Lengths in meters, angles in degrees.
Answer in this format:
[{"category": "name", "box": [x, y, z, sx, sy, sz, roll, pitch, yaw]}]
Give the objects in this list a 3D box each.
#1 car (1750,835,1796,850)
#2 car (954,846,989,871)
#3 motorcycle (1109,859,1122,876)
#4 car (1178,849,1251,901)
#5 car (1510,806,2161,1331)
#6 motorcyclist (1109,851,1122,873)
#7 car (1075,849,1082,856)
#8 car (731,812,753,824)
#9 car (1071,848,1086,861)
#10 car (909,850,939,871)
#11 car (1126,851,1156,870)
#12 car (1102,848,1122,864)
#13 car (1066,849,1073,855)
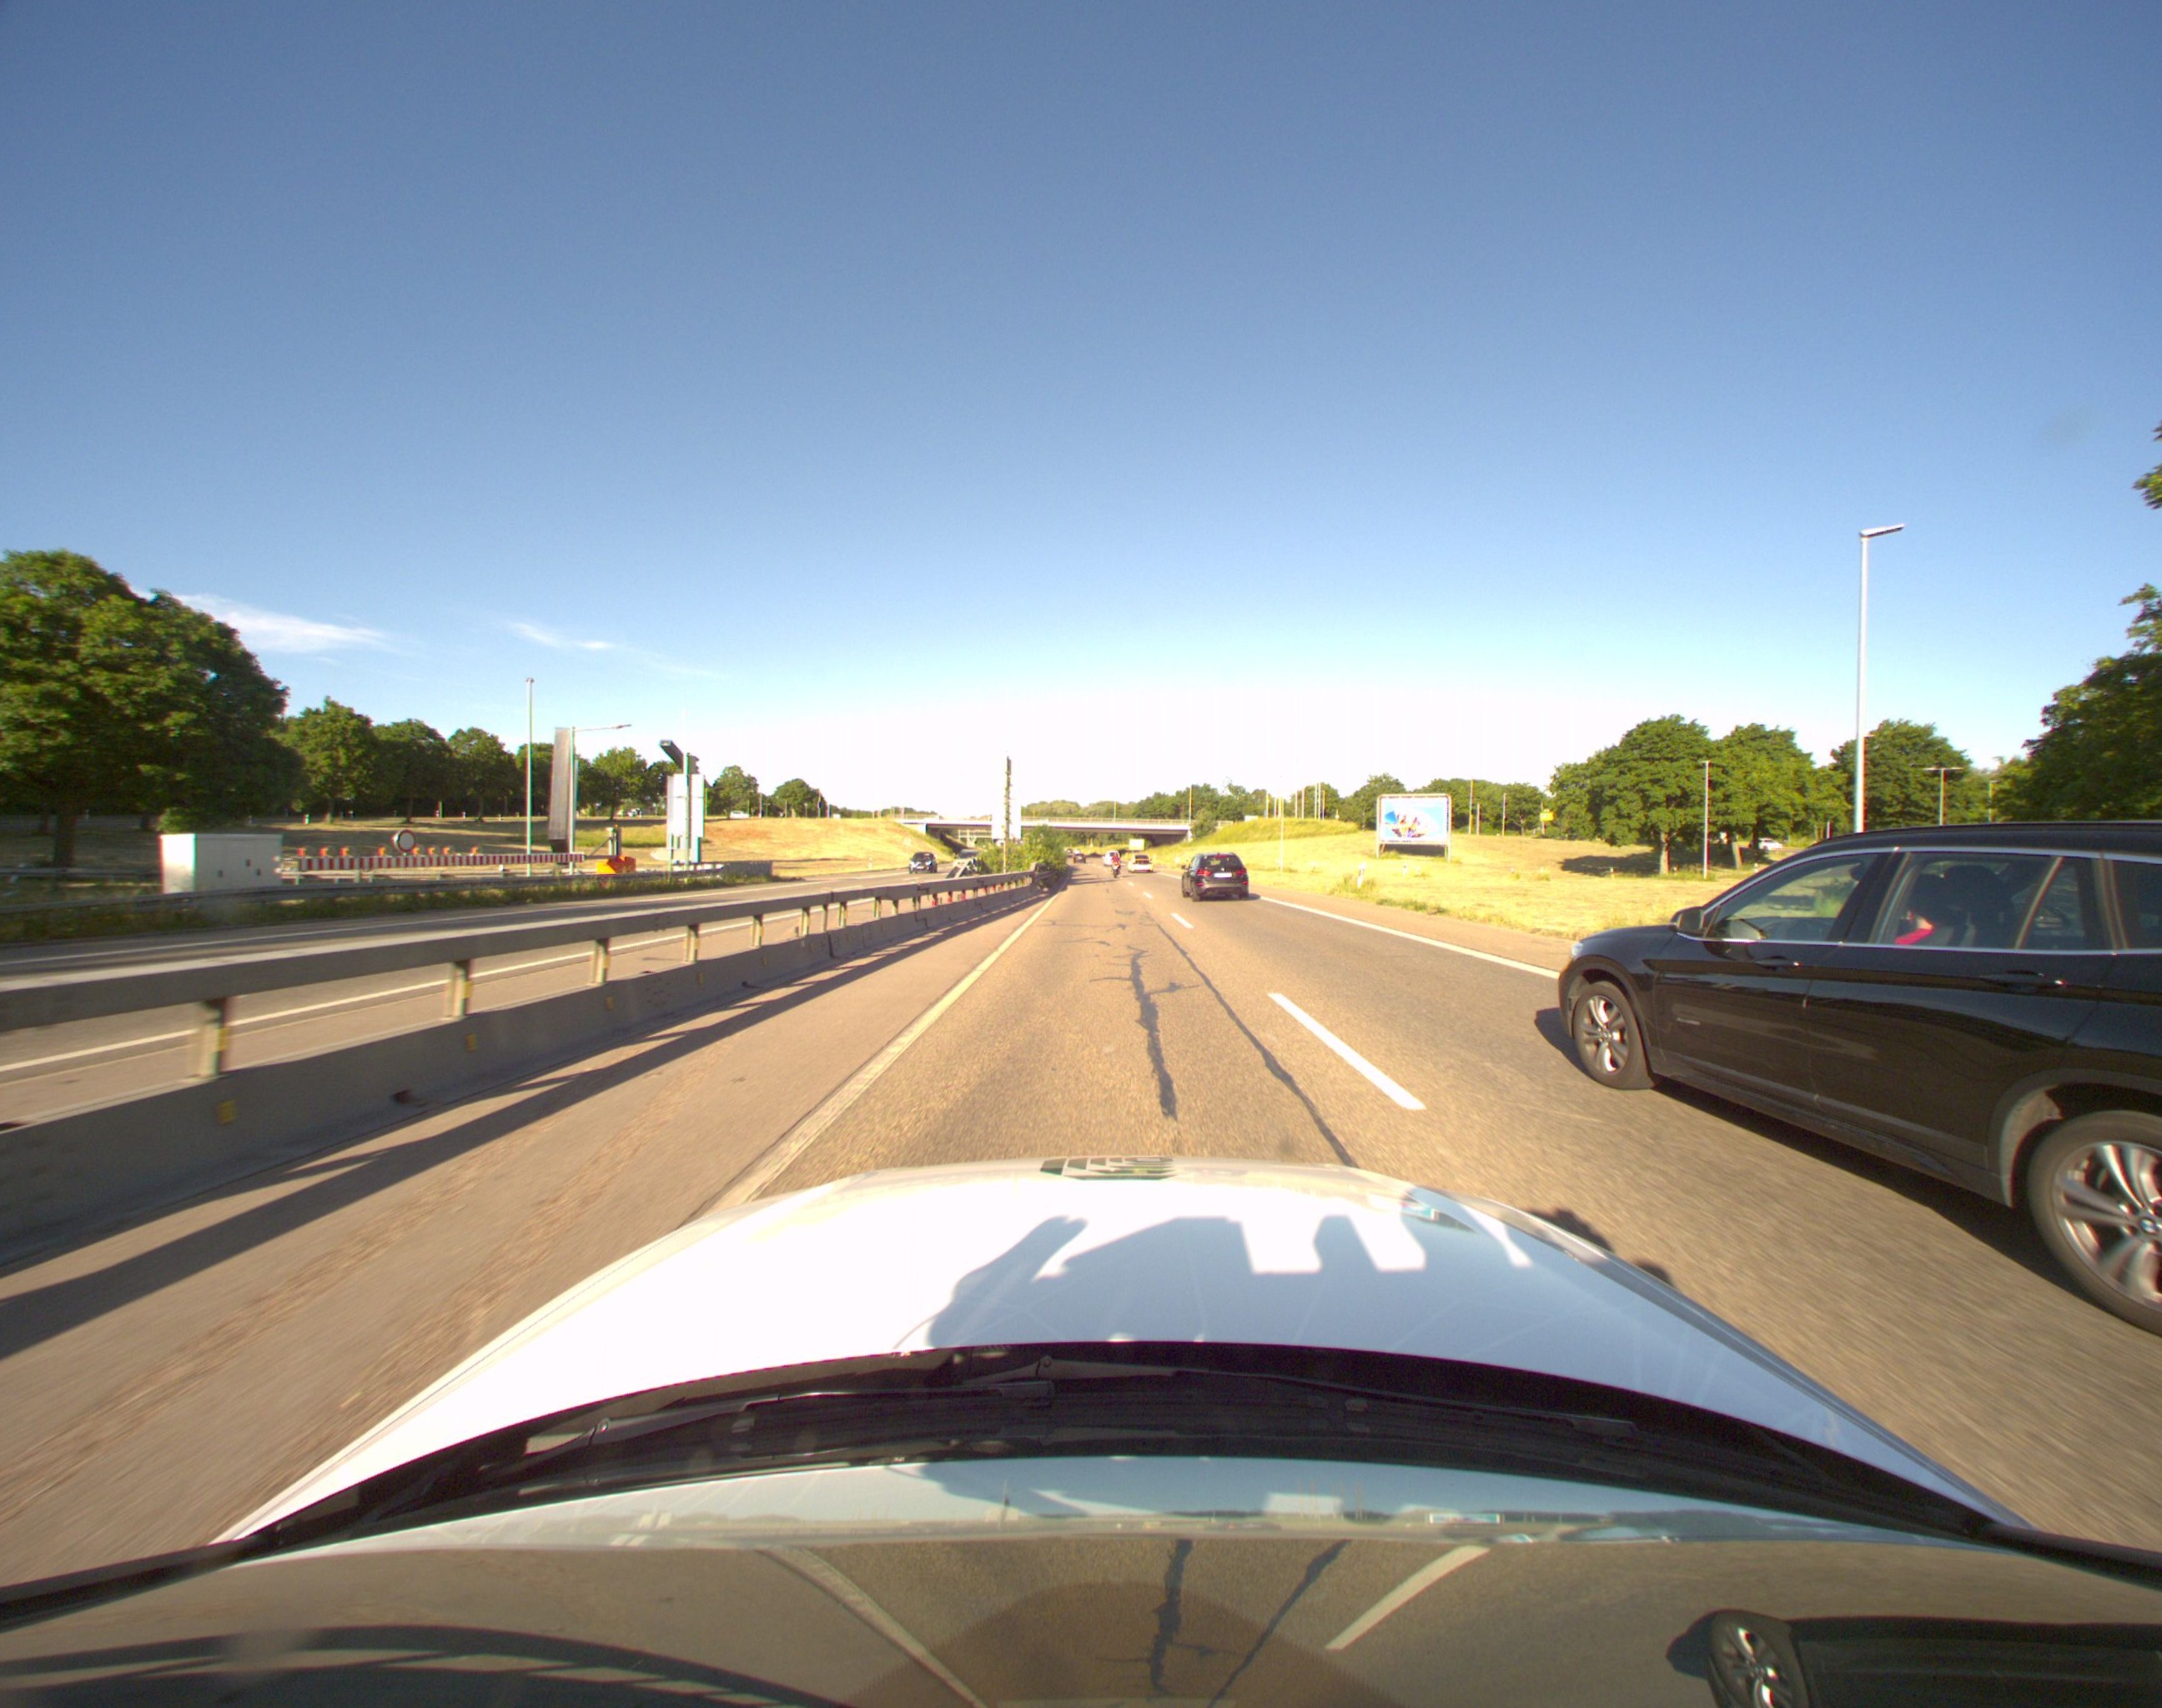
[{"category": "car", "box": [83.239, -1.367, 98.024, 1.860, 1.691, 3.992, -1, 1, -6]}, {"category": "car", "box": [-7.100, 0.266, 53.060, 1.711, 1.575, 4.162, -1, 0, -1]}, {"category": "motorcycle", "box": [2.334, 0.864, 54.348, 0.813, 1.069, 2.838, -1, 1, 3]}, {"category": "car", "box": [4.355, 0.639, 27.172, 1.693, 1.506, 4.580, -2, 0, 1]}, {"category": "car", "box": [4.134, 0.617, 3.995, 1.749, 1.573, 4.522, -1, 1, 1]}, {"category": "motorcyclist", "box": [2.312, 0.501, 54.266, 0.813, 1.447, 1.094, -1, 0, 3]}, {"category": "car", "box": [-0.638, -0.393, 211.297, 1.862, 1.685, 4.002, 1, 0, 2]}, {"category": "car", "box": [-78.036, -8.319, 187.619, 4.273, 2.805, 2.091, 0, 1, 20]}, {"category": "car", "box": [-0.373, 0.069, 116.420, 1.893, 1.767, 3.995, 0, 1, -4]}, {"category": "car", "box": [-11.388, 0.442, 59.234, 1.605, 1.485, 3.391, -1, 0, -1]}, {"category": "car", "box": [4.866, 0.503, 66.146, 1.893, 1.471, 3.995, -1, 0, -3]}, {"category": "car", "box": [3.621, 0.263, 95.754, 1.892, 1.767, 3.996, -2, 0, -2]}, {"category": "car", "box": [-3.314, -0.491, 229.278, 1.862, 1.685, 4.002, 1, 0, 2]}]
